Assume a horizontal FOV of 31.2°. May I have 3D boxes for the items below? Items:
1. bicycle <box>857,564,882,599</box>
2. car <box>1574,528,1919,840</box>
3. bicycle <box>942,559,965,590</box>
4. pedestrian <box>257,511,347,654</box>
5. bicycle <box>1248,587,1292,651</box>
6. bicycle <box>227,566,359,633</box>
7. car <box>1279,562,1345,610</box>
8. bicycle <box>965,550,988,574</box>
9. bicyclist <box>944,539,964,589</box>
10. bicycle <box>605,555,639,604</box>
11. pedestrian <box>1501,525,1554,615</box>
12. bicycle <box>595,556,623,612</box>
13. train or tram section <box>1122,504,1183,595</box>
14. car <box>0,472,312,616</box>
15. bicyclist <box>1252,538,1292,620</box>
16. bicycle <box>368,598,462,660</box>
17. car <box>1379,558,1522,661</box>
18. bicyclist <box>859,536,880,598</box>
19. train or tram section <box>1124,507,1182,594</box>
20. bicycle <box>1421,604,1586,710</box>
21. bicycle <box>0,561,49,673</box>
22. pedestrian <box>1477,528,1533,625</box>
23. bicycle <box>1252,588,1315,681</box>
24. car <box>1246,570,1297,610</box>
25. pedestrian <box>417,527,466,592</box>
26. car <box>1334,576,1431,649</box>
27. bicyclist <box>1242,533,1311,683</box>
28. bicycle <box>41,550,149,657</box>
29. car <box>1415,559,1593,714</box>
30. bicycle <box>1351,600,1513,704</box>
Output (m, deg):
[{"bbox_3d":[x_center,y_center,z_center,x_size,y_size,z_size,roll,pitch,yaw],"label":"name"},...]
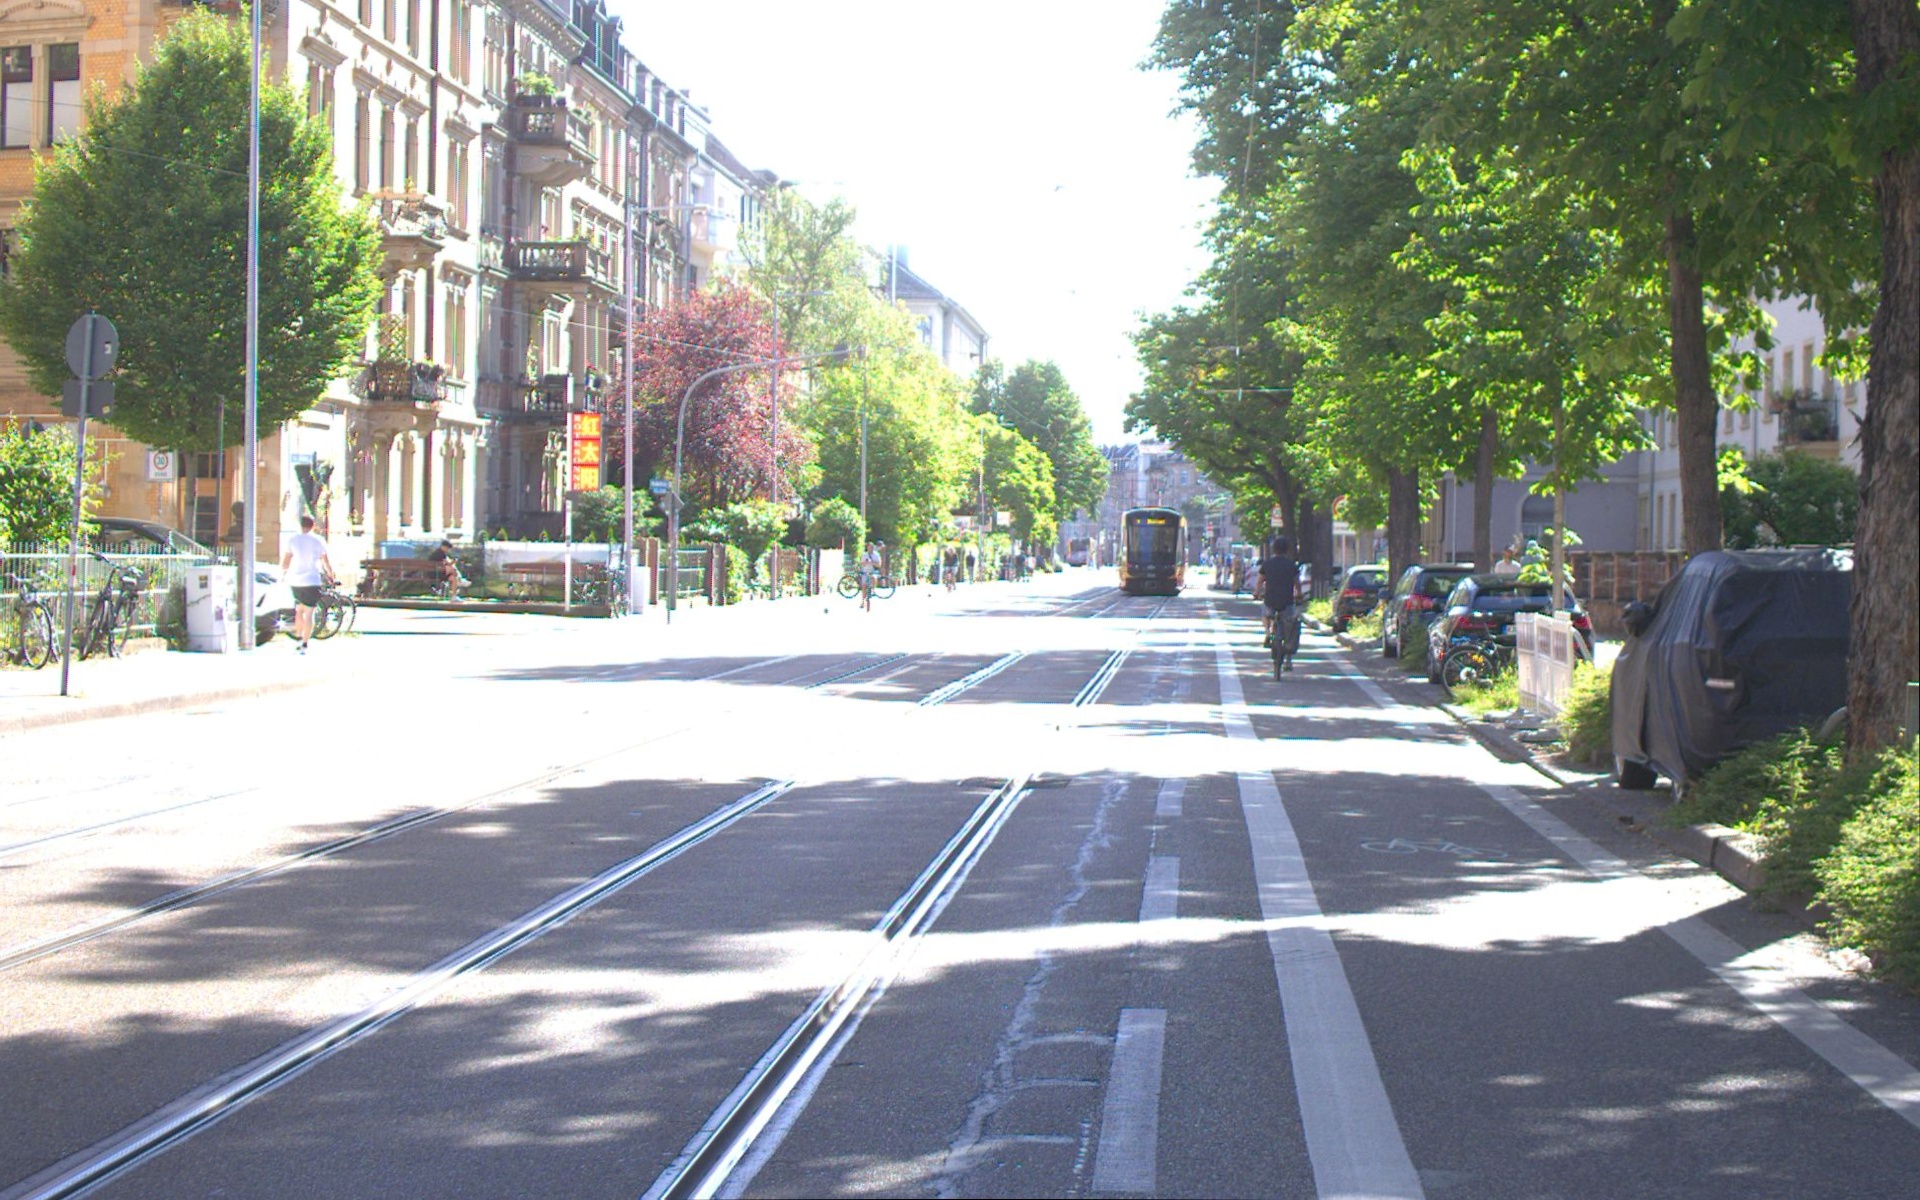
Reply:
[{"bbox_3d":[-2.390,-0.499,90.968,0.460,0.923,2.202,1,1,4],"label":"bicycle"},{"bbox_3d":[5.244,0.479,22.585,1.744,1.760,4.477,4,1,3],"label":"car"},{"bbox_3d":[-0.237,-0.930,124.346,0.692,1.108,1.718,1,1,4],"label":"bicycle"},{"bbox_3d":[-8.225,-0.218,43.007,0.829,1.718,1.082,4,0,-1],"label":"pedestrian"},{"bbox_3d":[5.683,0.337,63.049,0.692,1.108,1.917,4,1,4],"label":"bicycle"},{"bbox_3d":[-9.930,-0.002,51.213,1.782,0.911,0.621,3,-1,-31],"label":"bicycle"},{"bbox_3d":[11.088,-0.463,108.437,1.628,1.431,4.665,2,1,1],"label":"car"},{"bbox_3d":[0.796,-1.822,165.672,0.632,1.065,1.832,4,1,-13],"label":"bicycle"},{"bbox_3d":[-0.207,-1.306,124.428,0.660,1.795,0.616,0,0,4],"label":"bicyclist"},{"bbox_3d":[-7.092,-0.430,72.096,0.335,0.997,1.869,4,1,4],"label":"bicycle"},{"bbox_3d":[11.206,-0.584,67.896,0.764,1.718,0.578,4,1,33],"label":"pedestrian"},{"bbox_3d":[-7.257,-0.333,71.109,0.371,1.122,0.808,4,1,4],"label":"bicycle"},{"bbox_3d":[7.746,-2.012,137.996,2.154,3.420,6.610,4,1,4],"label":"train or tram section"},{"bbox_3d":[-11.072,-0.758,45.490,4.447,1.638,1.966,4,0,7],"label":"car"},{"bbox_3d":[5.688,-0.385,62.721,0.635,1.463,0.616,4,1,4],"label":"bicyclist"},{"bbox_3d":[-8.671,0.460,54.708,1.290,0.911,0.621,3,-1,-31],"label":"bicycle"},{"bbox_3d":[7.442,0.119,52.452,1.720,1.468,4.246,1,1,3],"label":"car"},{"bbox_3d":[-2.393,-0.869,90.874,0.464,1.613,0.744,0,0,4],"label":"bicyclist"},{"bbox_3d":[8.138,-2.076,144.609,2.154,3.420,6.610,4,1,4],"label":"train or tram section"},{"bbox_3d":[6.155,0.643,39.000,1.762,1.074,0.433,4,1,5],"label":"bicycle"},{"bbox_3d":[-9.890,0.149,35.685,0.563,1.030,1.768,6,1,-21],"label":"bicycle"},{"bbox_3d":[10.040,-0.431,63.356,0.599,1.765,0.913,-1,1,-26],"label":"pedestrian"},{"bbox_3d":[4.125,0.430,43.955,0.692,1.108,1.718,4,1,4],"label":"bicycle"},{"bbox_3d":[11.545,-0.369,127.525,1.749,1.415,4.000,1,1,3],"label":"car"},{"bbox_3d":[-10.887,-0.853,72.230,0.901,1.348,0.577,0,0,6],"label":"pedestrian"},{"bbox_3d":[8.945,0.244,73.038,1.787,1.459,4.044,2,1,4],"label":"car"},{"bbox_3d":[4.027,0.095,43.781,0.727,1.842,0.836,4,1,3],"label":"bicyclist"},{"bbox_3d":[-9.403,0.027,37.330,0.563,1.030,1.768,3,2,-32],"label":"bicycle"},{"bbox_3d":[6.660,0.403,42.429,1.665,1.755,4.231,2,1,3],"label":"car"},{"bbox_3d":[5.425,0.590,39.541,1.762,1.074,0.433,4,1,5],"label":"bicycle"}]
